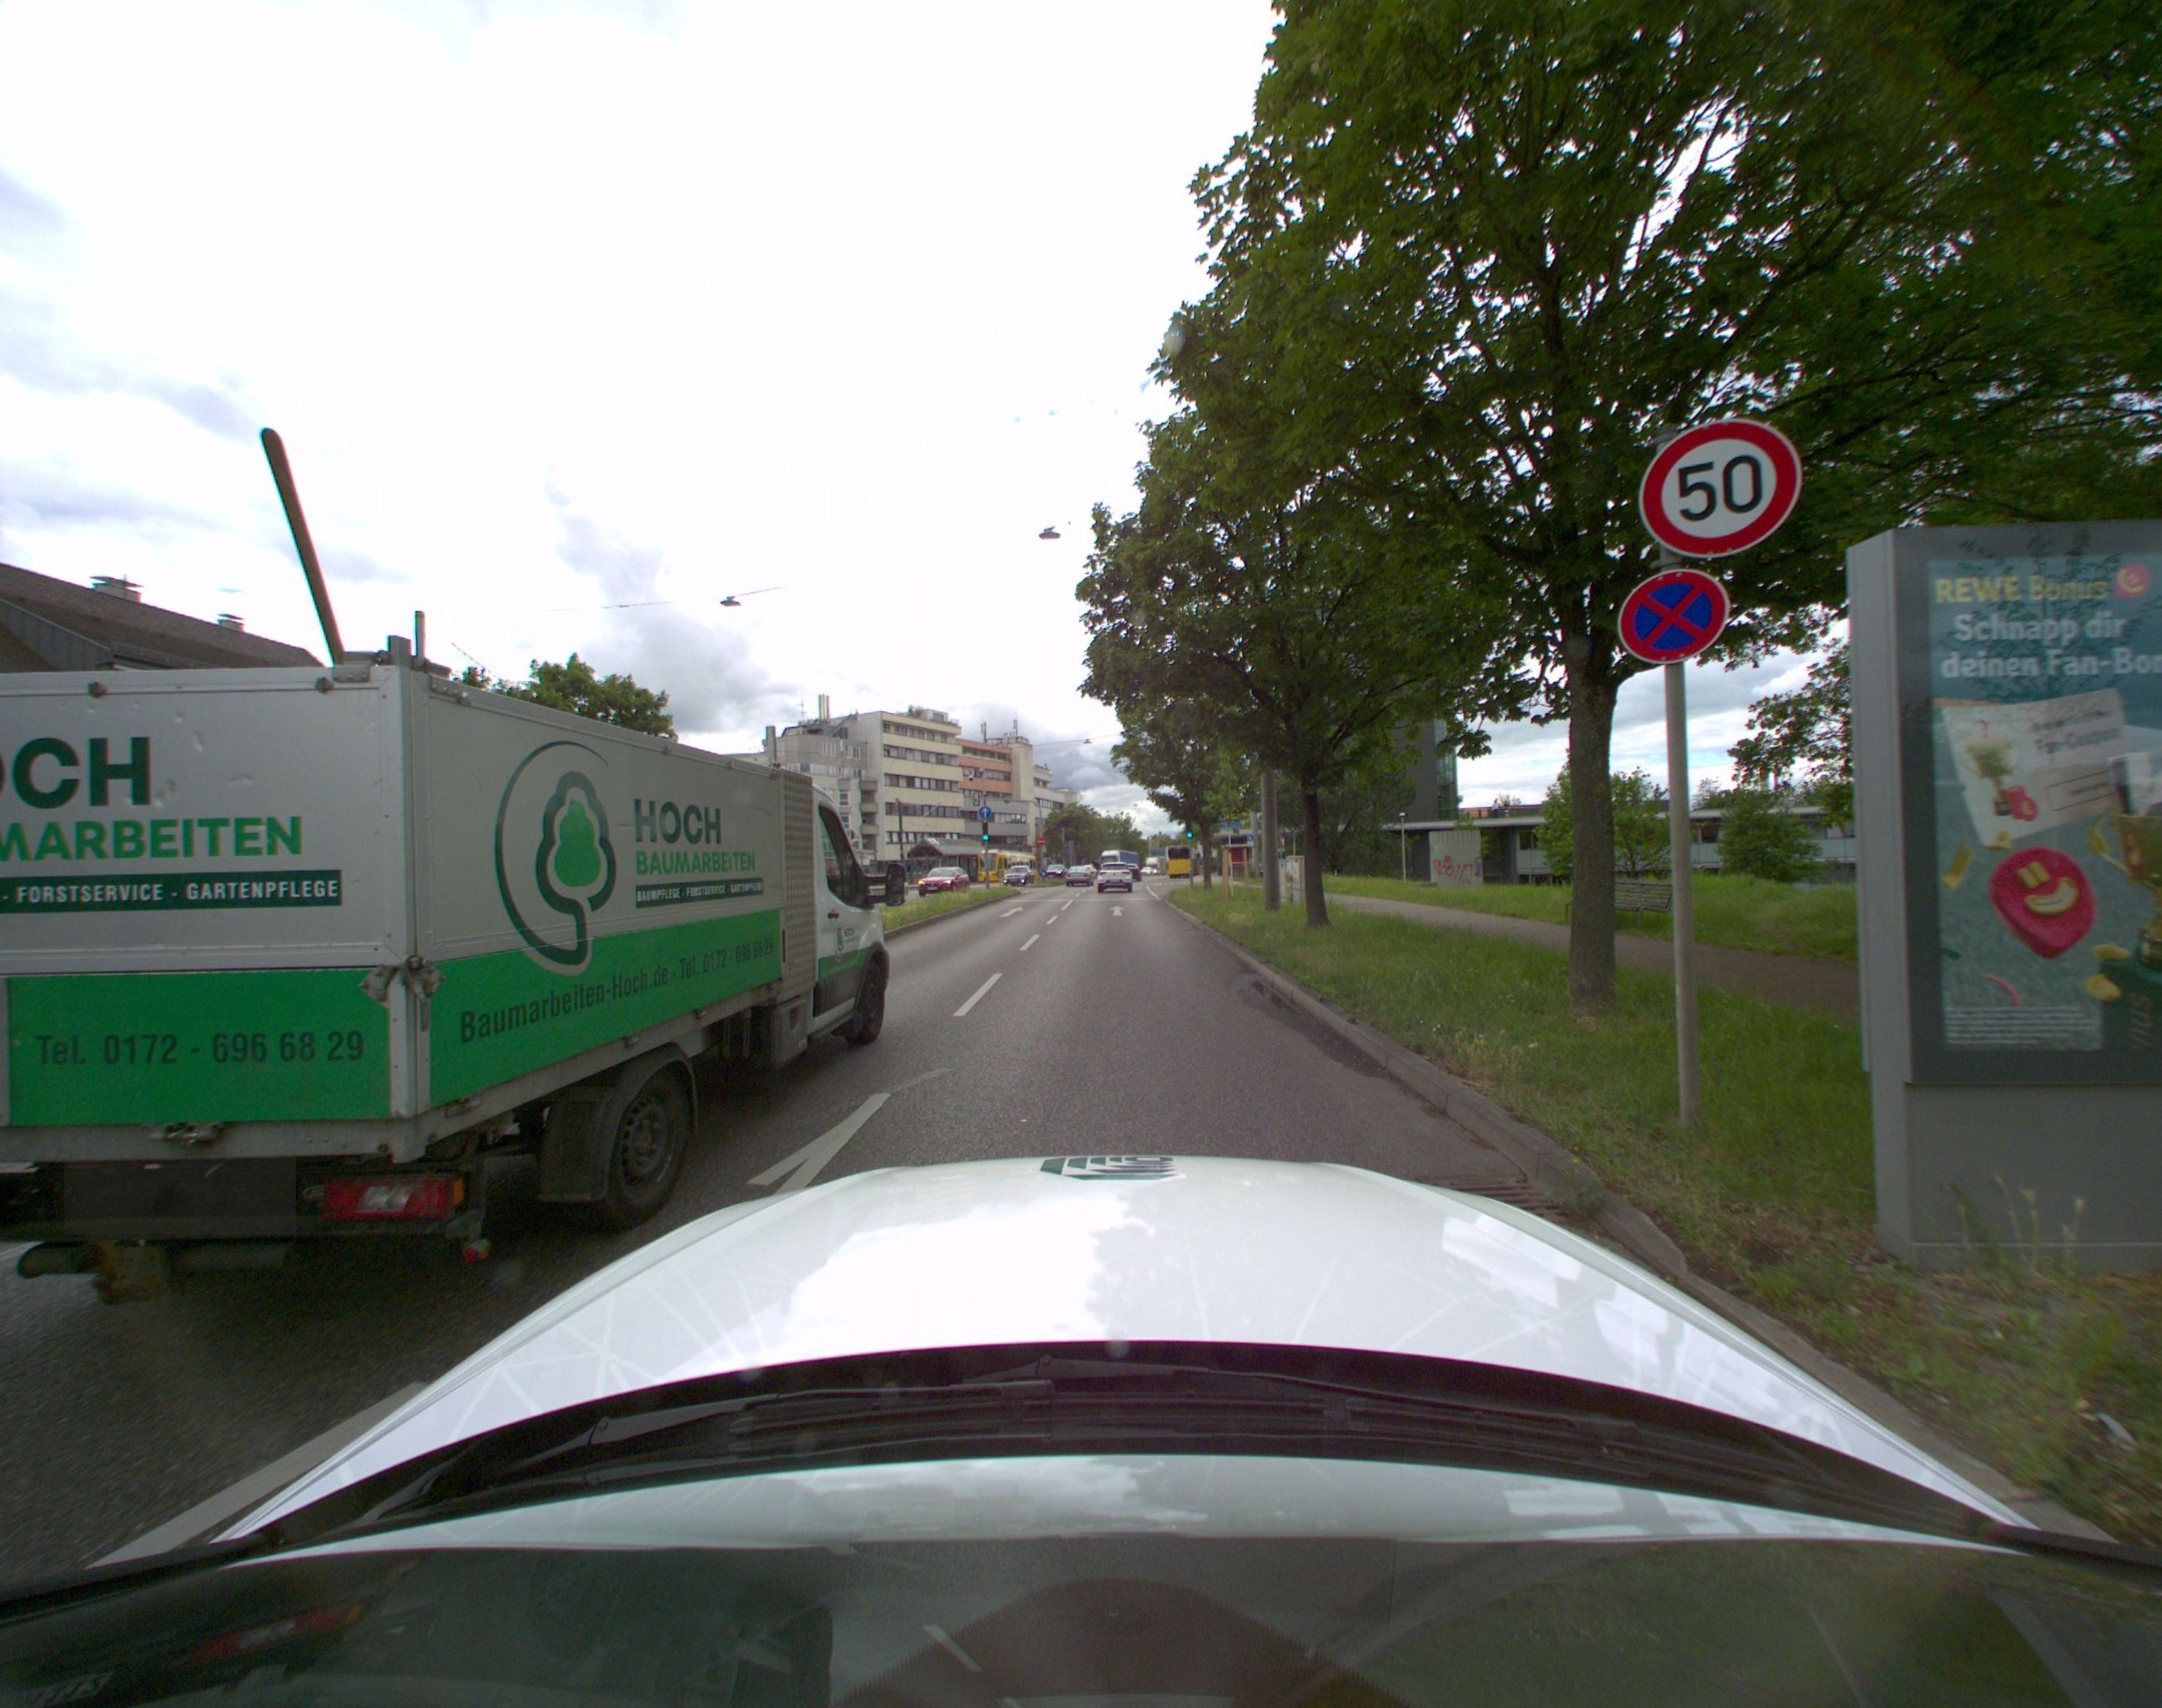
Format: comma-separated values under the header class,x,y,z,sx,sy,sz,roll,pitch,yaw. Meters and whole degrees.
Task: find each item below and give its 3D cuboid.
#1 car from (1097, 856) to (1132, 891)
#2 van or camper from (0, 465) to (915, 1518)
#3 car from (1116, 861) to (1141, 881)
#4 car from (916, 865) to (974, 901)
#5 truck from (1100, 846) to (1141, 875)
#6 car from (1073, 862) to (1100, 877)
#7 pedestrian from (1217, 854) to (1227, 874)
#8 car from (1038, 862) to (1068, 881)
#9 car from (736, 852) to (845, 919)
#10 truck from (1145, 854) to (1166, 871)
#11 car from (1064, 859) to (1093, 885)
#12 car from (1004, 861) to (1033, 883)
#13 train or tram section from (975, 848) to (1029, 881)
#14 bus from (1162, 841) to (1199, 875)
class,x,y,z,sx,sy,sz,roll,pitch,yaw
car,1.802,0.991,43.053,1.692,1.548,3.741,1,3,4
van or camper,-2.852,0.328,5.044,2.335,2.662,5.966,0,0,1
car,4.142,1.432,70.092,1.689,1.516,3.504,-1,1,11
car,-6.926,1.427,41.886,1.986,1.590,4.837,0,1,2
truck,6.286,0.944,125.938,2.933,4.080,16.664,-1,0,14
car,0.598,1.628,88.053,1.952,1.499,4.790,-1,0,12
pedestrian,12.805,0.931,73.945,0.707,1.816,0.764,-2,-1,0
car,-2.549,1.627,74.944,1.886,1.618,4.286,-2,-2,9
car,-10.228,1.019,29.126,1.986,2.013,4.838,0,2,2
truck,14.000,1.569,152.792,3.064,3.028,9.382,-2,-1,9
car,-0.131,1.201,56.492,1.692,1.515,3.742,-1,3,4
car,-4.471,1.295,58.394,1.607,1.446,3.655,-2,-1,2
train or tram section,-8.636,1.175,91.614,2.544,3.411,13.117,-2,-1,10
bus,10.112,0.381,82.155,2.935,3.190,9.958,-1,0,11
